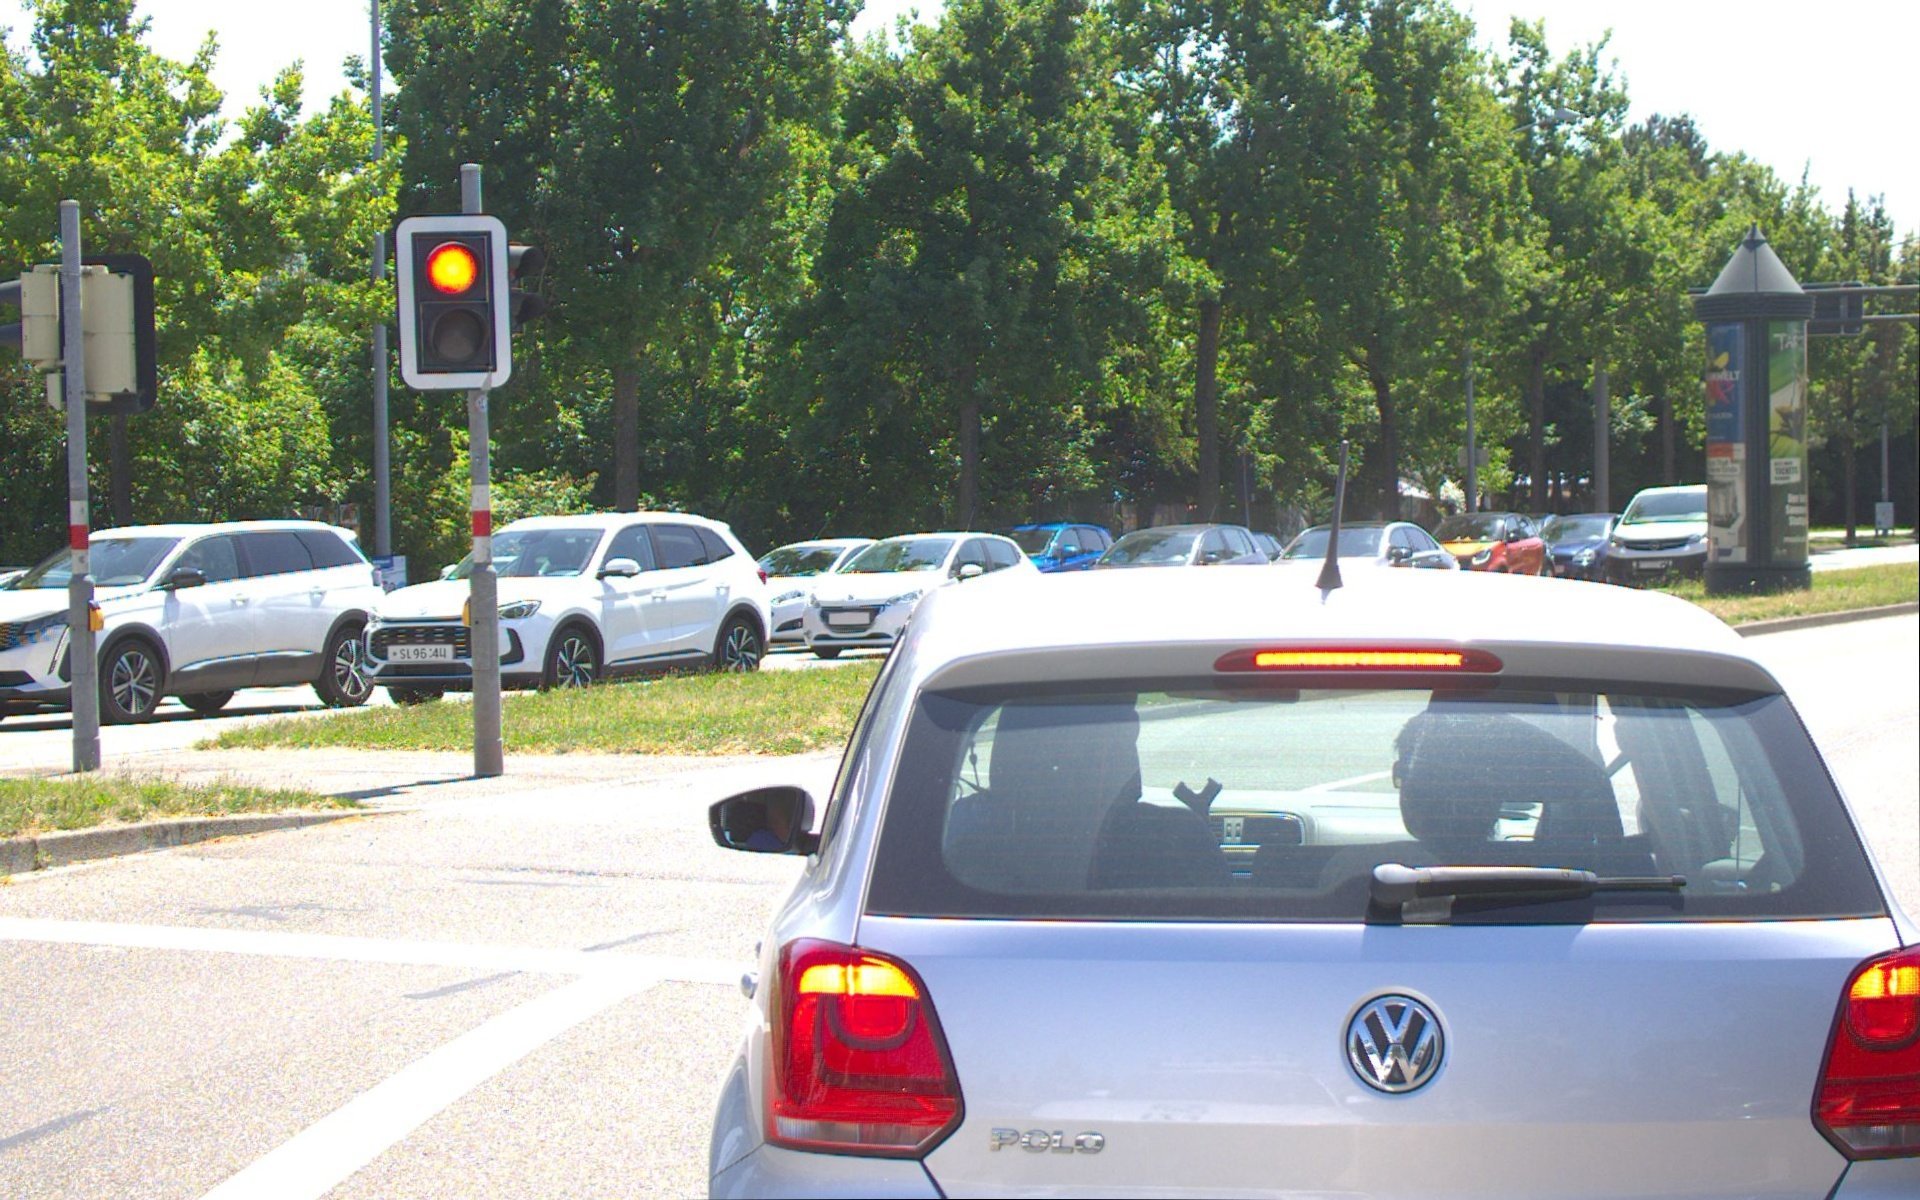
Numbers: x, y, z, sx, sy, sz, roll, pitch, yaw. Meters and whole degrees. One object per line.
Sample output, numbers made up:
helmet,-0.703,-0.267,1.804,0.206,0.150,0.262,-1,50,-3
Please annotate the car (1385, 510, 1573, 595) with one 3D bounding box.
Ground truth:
car,9.126,-0.846,60.225,1.861,1.417,4.401,0,2,29

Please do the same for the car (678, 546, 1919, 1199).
car,0.519,0.653,5.715,1.776,1.417,4.001,-1,2,-2

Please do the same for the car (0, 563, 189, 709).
car,-9.294,0.332,31.578,1.861,1.266,4.401,0,2,29

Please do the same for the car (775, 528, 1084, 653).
car,-0.303,-0.155,42.005,1.861,1.417,4.401,0,2,29

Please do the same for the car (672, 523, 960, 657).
car,-1.870,-0.174,46.208,1.861,1.677,4.401,0,2,29

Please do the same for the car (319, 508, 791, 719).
car,-3.419,0.051,29.909,1.861,1.677,4.401,0,2,29

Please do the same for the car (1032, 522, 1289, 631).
car,2.844,-0.354,47.778,1.861,1.417,4.401,0,2,29

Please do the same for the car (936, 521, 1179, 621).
car,1.528,-0.470,51.787,1.861,1.417,4.401,0,2,29

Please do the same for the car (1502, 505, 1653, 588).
car,11.588,-1.002,64.396,1.718,1.470,3.791,-1,0,27

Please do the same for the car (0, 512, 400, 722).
car,-6.849,0.077,29.032,1.861,1.612,4.401,0,2,29

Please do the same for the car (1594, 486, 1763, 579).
car,12.373,-1.175,59.055,1.865,1.549,3.994,0,2,27

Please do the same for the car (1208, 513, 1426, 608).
car,5.663,-0.642,54.068,1.861,1.417,4.401,0,2,29

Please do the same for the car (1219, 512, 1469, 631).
car,5.138,-0.408,45.599,1.973,1.483,3.994,0,2,28
